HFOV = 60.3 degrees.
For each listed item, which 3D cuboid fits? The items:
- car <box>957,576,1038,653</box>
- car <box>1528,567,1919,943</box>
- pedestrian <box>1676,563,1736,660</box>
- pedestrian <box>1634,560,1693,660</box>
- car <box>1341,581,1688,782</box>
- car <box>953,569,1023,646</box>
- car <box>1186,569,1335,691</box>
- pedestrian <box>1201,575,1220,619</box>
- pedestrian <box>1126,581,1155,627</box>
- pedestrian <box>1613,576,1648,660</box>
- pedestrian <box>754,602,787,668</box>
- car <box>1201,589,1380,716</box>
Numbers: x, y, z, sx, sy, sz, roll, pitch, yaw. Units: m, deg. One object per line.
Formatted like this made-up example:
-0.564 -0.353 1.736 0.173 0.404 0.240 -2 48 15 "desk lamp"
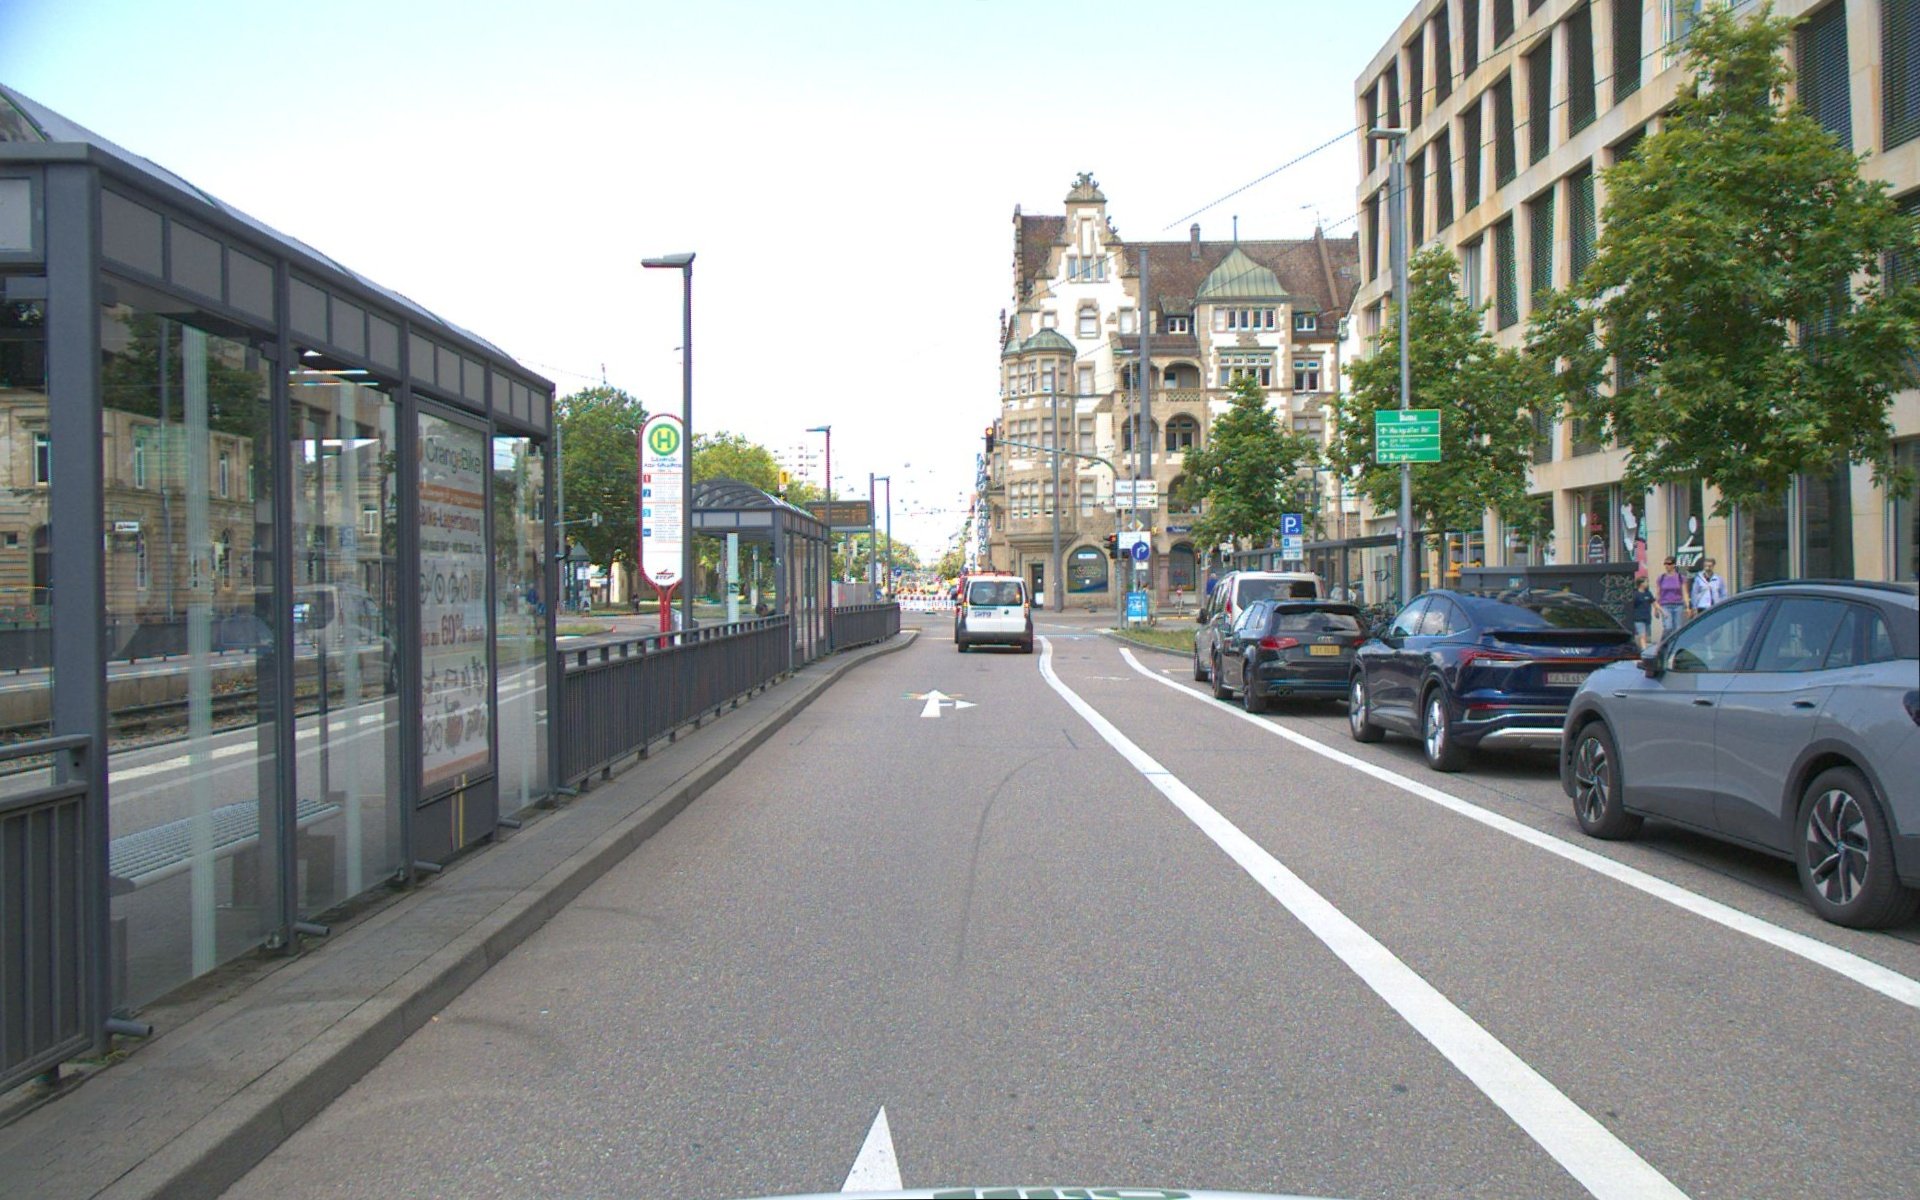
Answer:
0.869 0.318 40.554 1.831 1.777 3.999 1 0 -1 "car"
4.960 0.668 9.203 1.770 1.619 4.839 1 0 -2 "car"
13.240 0.199 29.370 0.744 1.699 0.659 -1 0 -1 "pedestrian"
12.477 0.176 29.353 0.744 1.754 0.659 -1 0 -1 "pedestrian"
5.061 0.654 15.761 1.770 1.619 4.305 1 0 -1 "car"
0.753 0.198 46.594 1.831 2.055 3.999 1 0 -1 "car"
4.802 0.438 26.815 1.675 1.828 3.360 1 0 -2 "car"
9.187 -0.101 60.668 0.523 1.599 0.542 -2 0 -2 "pedestrian"
6.428 0.158 59.020 0.793 1.599 0.626 -2 0 -17 "pedestrian"
11.878 0.316 29.317 0.430 1.474 0.434 -1 0 -1 "pedestrian"
-3.434 0.634 30.015 0.503 1.160 0.501 -2 0 0 "pedestrian"
4.288 0.623 21.997 1.414 1.495 4.091 1 0 -2 "car"
